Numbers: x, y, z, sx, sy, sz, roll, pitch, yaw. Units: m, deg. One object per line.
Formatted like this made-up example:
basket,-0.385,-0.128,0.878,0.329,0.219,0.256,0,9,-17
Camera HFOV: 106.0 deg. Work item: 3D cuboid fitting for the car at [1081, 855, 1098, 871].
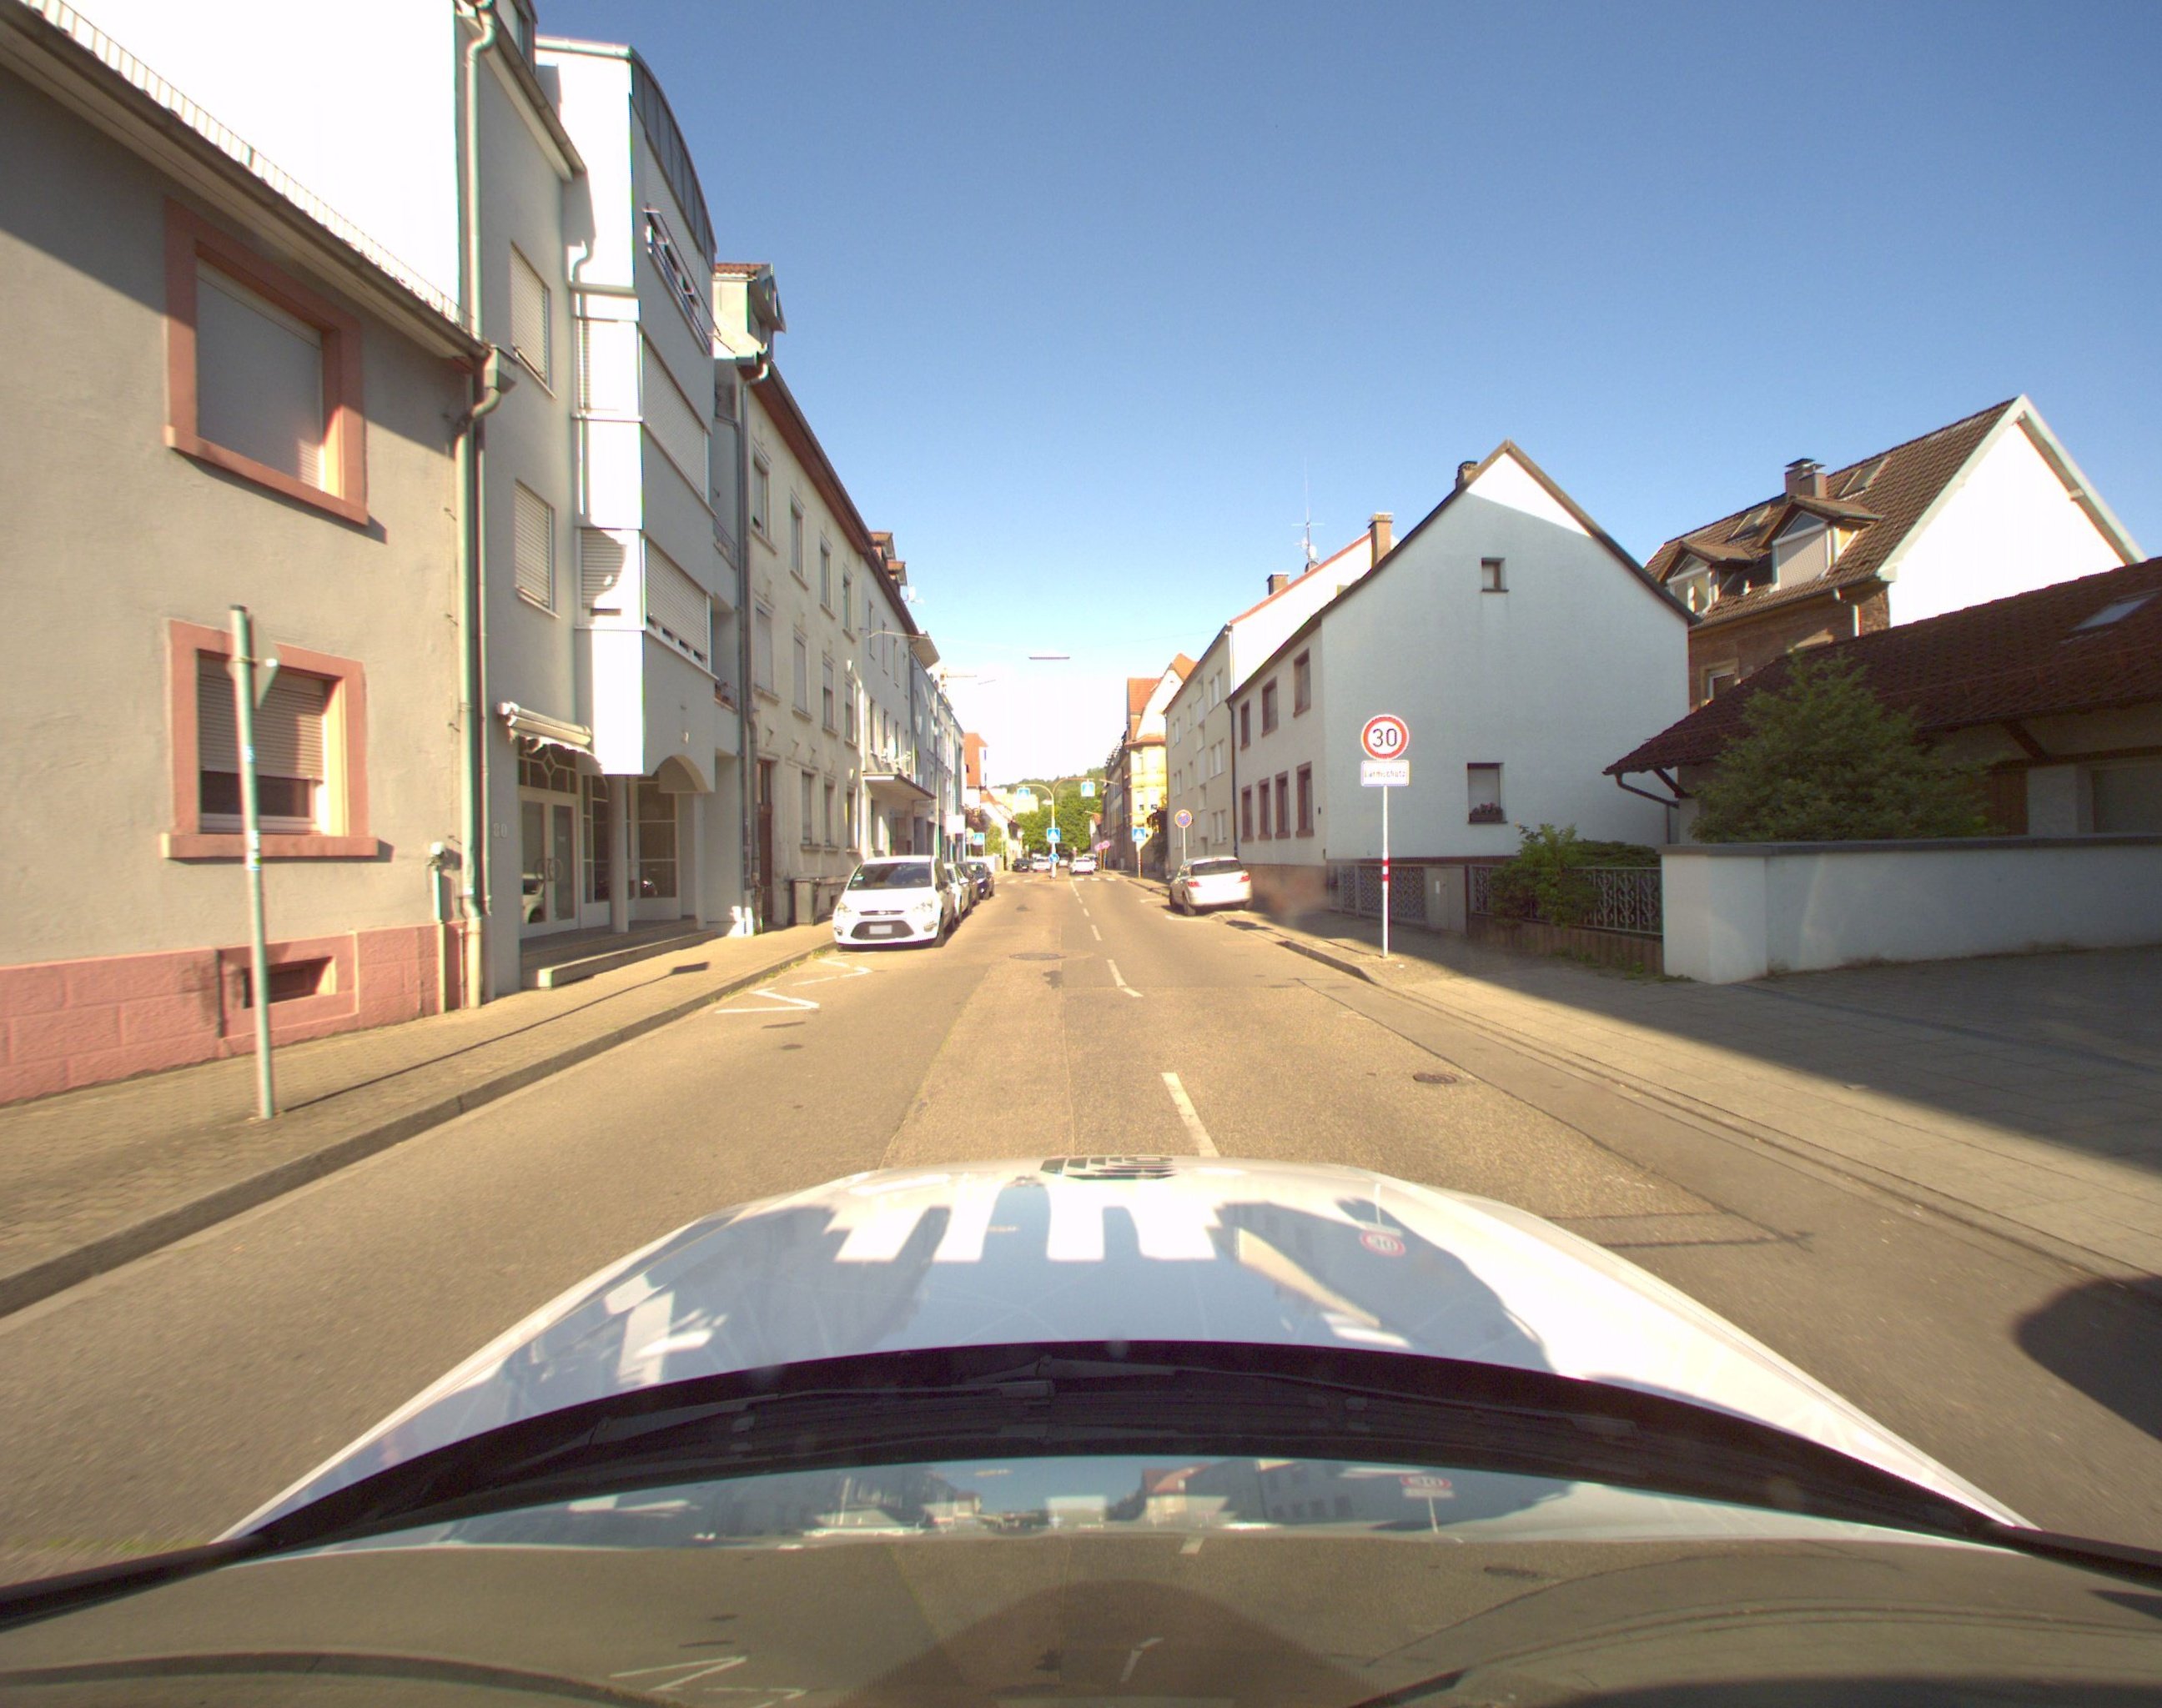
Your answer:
car,1.011,1.101,103.014,1.837,1.905,3.996,-3,0,-3

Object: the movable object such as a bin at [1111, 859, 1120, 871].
movable object such as a bin,4.130,1.316,97.662,0.869,1.377,0.684,-3,1,-3

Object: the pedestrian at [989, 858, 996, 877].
pedestrian,-7.228,1.107,66.551,0.556,1.472,0.600,-2,0,-6

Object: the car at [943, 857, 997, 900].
car,-4.299,0.944,31.973,1.727,1.499,3.954,-2,-1,-3

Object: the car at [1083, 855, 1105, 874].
car,1.333,1.100,86.642,2.006,1.853,3.995,0,0,-3

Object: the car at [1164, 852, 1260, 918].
car,3.429,0.766,22.058,1.736,1.492,4.436,-3,0,-1

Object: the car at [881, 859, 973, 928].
car,-3.875,0.933,21.158,1.761,1.495,4.120,-4,0,-4

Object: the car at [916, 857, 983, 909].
car,-4.148,0.915,26.157,1.656,1.526,3.805,-1,-1,-2

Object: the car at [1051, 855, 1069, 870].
car,-3.021,1.192,116.946,1.994,2.013,3.985,-2,0,-11

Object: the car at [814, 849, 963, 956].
car,-3.441,0.772,15.595,1.990,1.648,5.212,-1,0,-5

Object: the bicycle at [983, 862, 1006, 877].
bicycle,-7.051,1.262,66.223,1.781,1.184,0.598,-2,0,-2

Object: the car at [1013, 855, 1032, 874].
car,-6.605,1.181,91.936,1.990,2.013,3.994,-1,0,-4

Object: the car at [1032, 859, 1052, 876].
car,-4.166,1.434,87.031,1.805,1.701,4.183,-4,0,-6

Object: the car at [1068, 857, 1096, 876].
car,0.072,1.016,67.215,1.990,1.466,3.994,-2,0,-4
